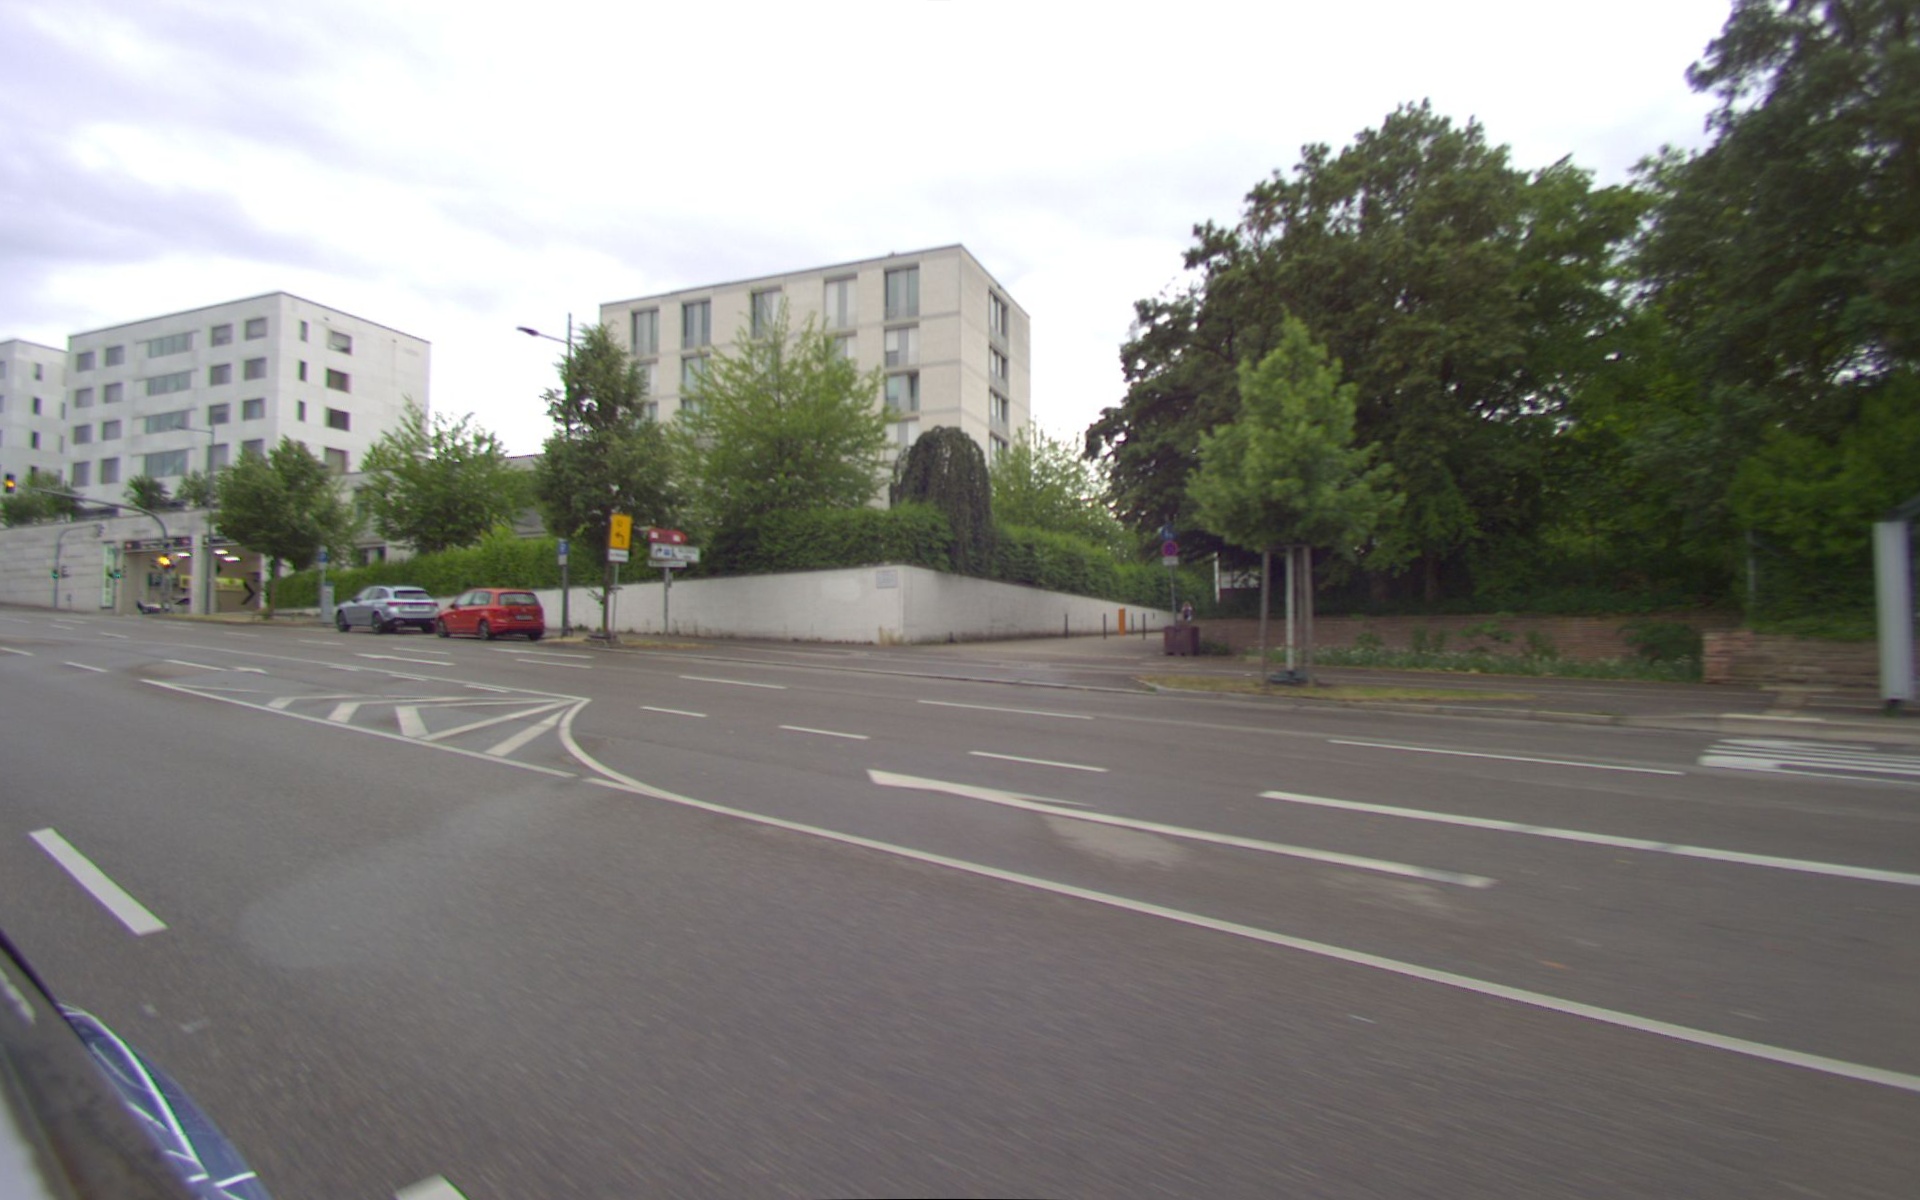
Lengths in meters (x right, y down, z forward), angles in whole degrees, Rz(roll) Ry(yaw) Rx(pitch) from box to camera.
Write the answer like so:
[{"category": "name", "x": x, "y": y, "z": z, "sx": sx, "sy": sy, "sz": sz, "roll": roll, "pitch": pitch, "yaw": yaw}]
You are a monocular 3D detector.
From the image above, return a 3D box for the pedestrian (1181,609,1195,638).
[{"category": "pedestrian", "x": 12.427, "y": 1.283, "z": 55.213, "sx": 0.644, "sy": 1.582, "sz": 0.629, "roll": 0, "pitch": -1, "yaw": 25}]

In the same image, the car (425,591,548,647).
[{"category": "car", "x": -14.672, "y": 0.565, "z": 31.292, "sx": 4.210, "sy": 1.599, "sz": 1.649, "roll": 1, "pitch": -2, "yaw": 37}]

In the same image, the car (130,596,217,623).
[{"category": "car", "x": -54.510, "y": 0.661, "z": 70.245, "sx": 1.985, "sy": 1.664, "sz": 4.318, "roll": 1, "pitch": -2, "yaw": 19}]

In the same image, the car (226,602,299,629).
[{"category": "car", "x": -50.101, "y": 1.121, "z": 72.753, "sx": 1.789, "sy": 1.785, "sz": 3.969, "roll": 1, "pitch": -2, "yaw": 23}]

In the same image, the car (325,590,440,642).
[{"category": "car", "x": -20.259, "y": 0.521, "z": 35.437, "sx": 4.876, "sy": 1.666, "sz": 1.747, "roll": 1, "pitch": 0, "yaw": 37}]
